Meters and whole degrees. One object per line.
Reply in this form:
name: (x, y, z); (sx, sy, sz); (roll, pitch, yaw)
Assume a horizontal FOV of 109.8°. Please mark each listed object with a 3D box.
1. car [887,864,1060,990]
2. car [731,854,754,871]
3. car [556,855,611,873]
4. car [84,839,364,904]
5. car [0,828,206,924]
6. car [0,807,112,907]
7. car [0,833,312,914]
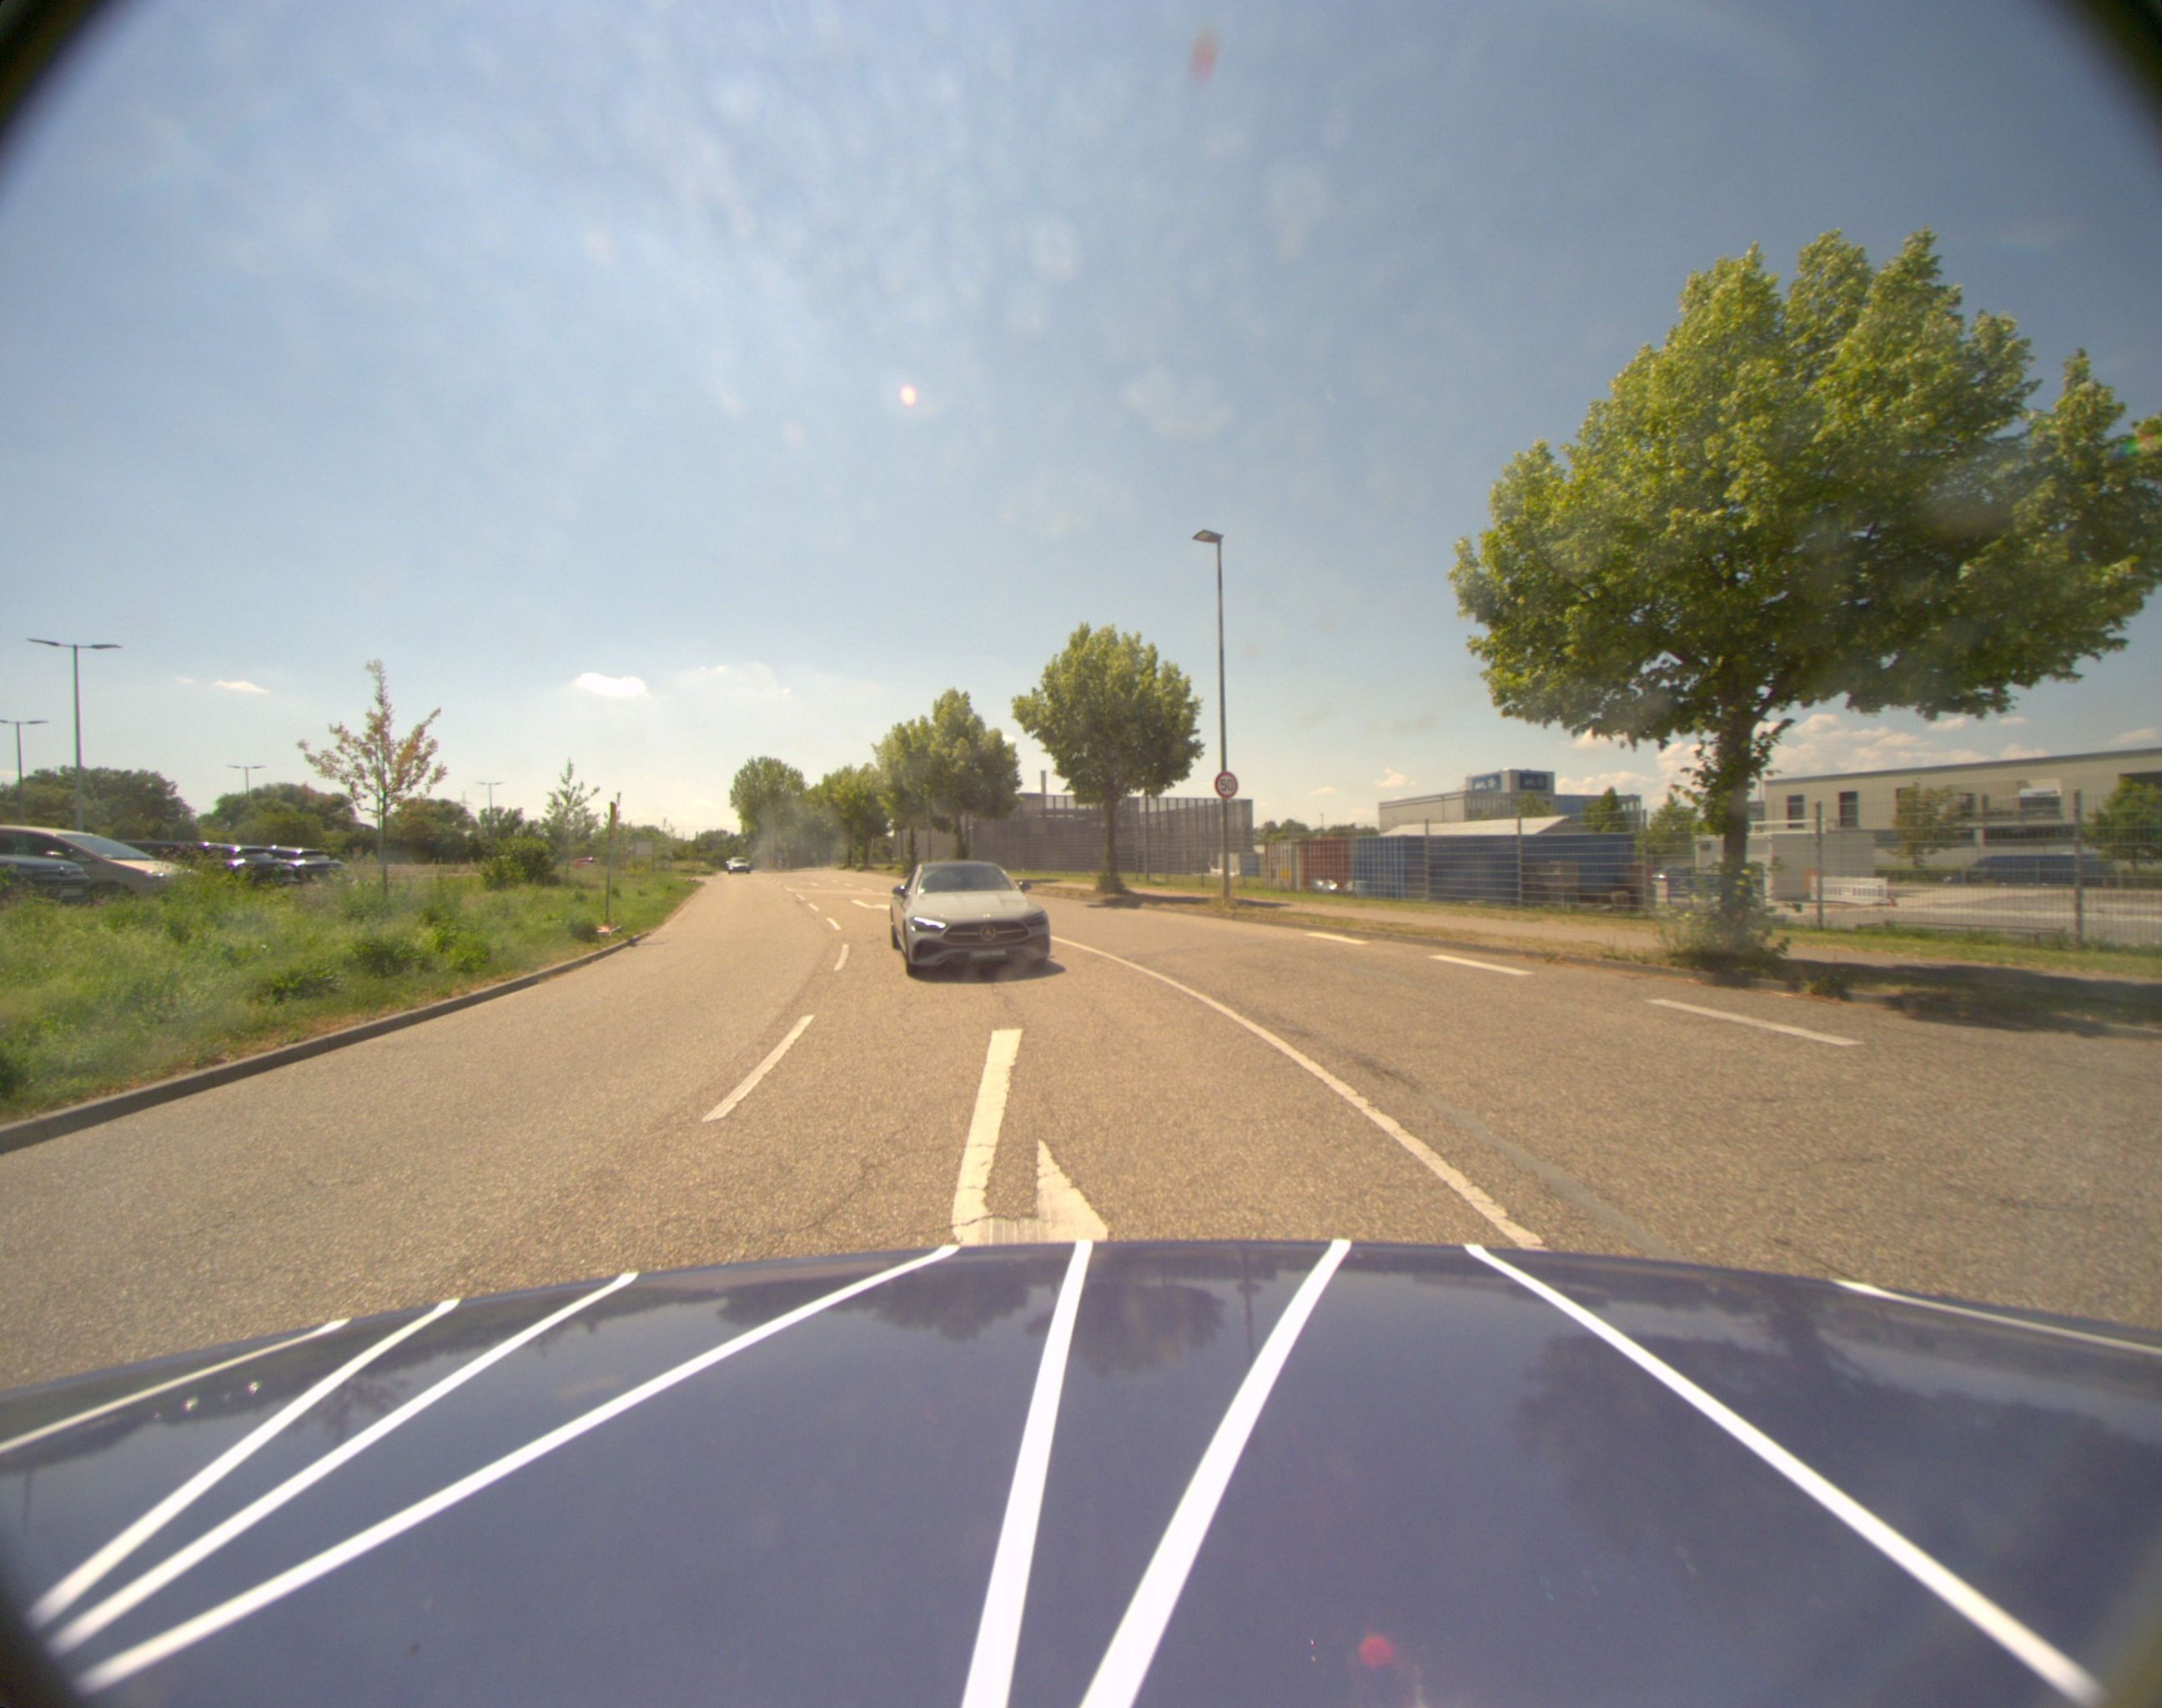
car: (-1.839, 0.896, 11.423); (1.900, 1.375, 4.626); (-2, 0, -16)
car: (-30.007, 0.716, 67.399); (1.675, 1.367, 4.487); (-4, 2, -24)
car: (-45.356, 0.868, 69.318); (4.005, 1.344, 1.643); (-3, 3, -29)
car: (-20.485, 0.361, 18.438); (4.004, 1.284, 1.904); (-3, 3, -24)
car: (-18.665, 0.366, 13.429); (3.855, 1.615, 1.613); (0, 1, -27)
car: (-17.530, 0.212, 10.878); (4.044, 1.422, 1.683); (-6, 4, -27)
car: (-19.516, 0.367, 15.921); (4.408, 1.536, 1.811); (0, 0, -26)
